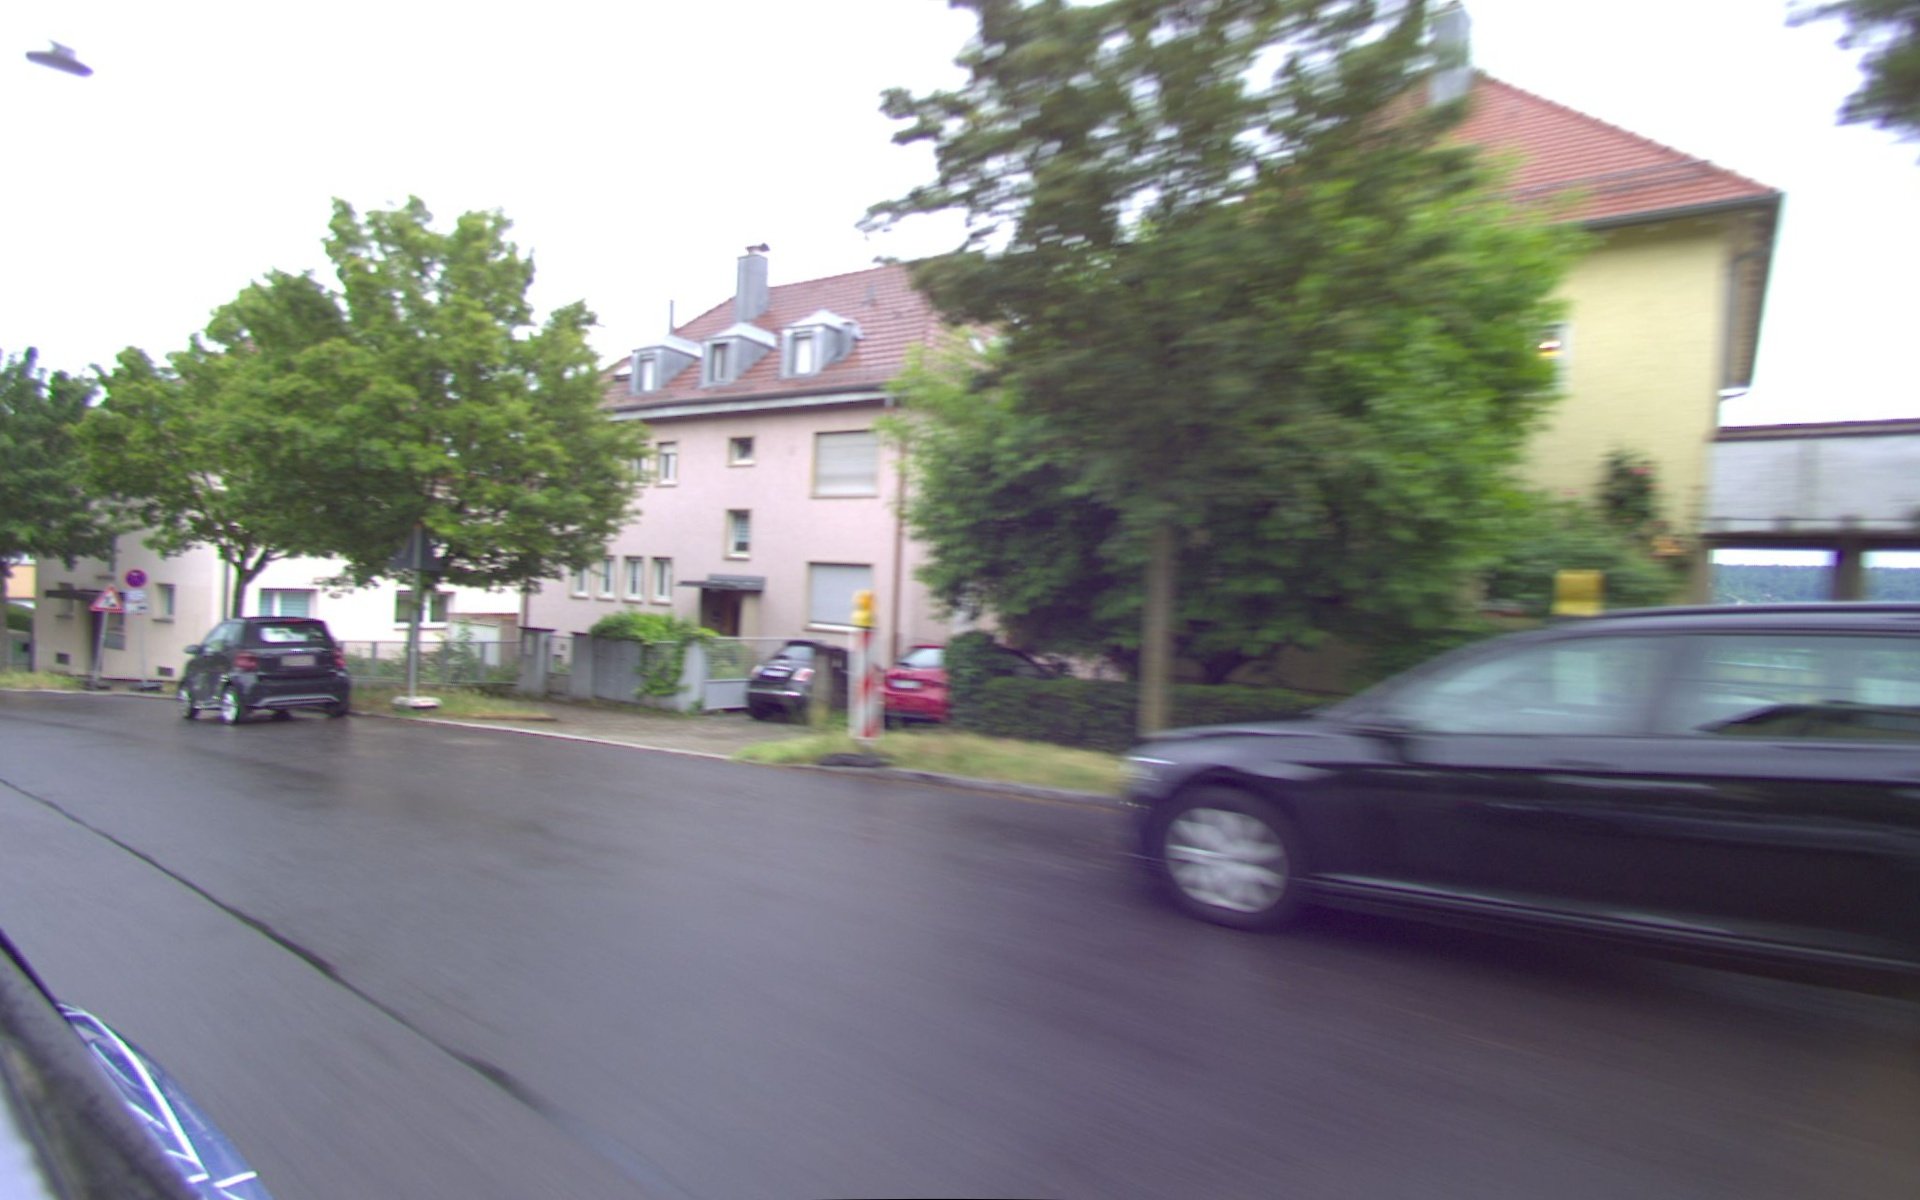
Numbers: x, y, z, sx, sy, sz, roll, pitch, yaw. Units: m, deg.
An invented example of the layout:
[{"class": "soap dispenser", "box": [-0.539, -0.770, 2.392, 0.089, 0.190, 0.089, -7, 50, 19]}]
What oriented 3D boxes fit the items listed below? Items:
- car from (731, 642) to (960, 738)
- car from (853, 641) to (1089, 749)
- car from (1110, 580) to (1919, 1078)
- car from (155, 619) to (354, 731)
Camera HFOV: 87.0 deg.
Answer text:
[{"class": "car", "box": [-1.956, 1.663, 18.287, 1.826, 1.371, 3.880, 0, -8, 39]}, {"class": "car", "box": [0.303, 1.599, 16.503, 1.777, 1.405, 3.880, 0, -8, 39]}, {"class": "car", "box": [2.994, 0.699, 4.093, 4.528, 1.495, 1.714, -1, -1, 41]}, {"class": "car", "box": [-10.839, 1.090, 15.517, 3.028, 1.546, 1.505, -1, -3, 34]}]
